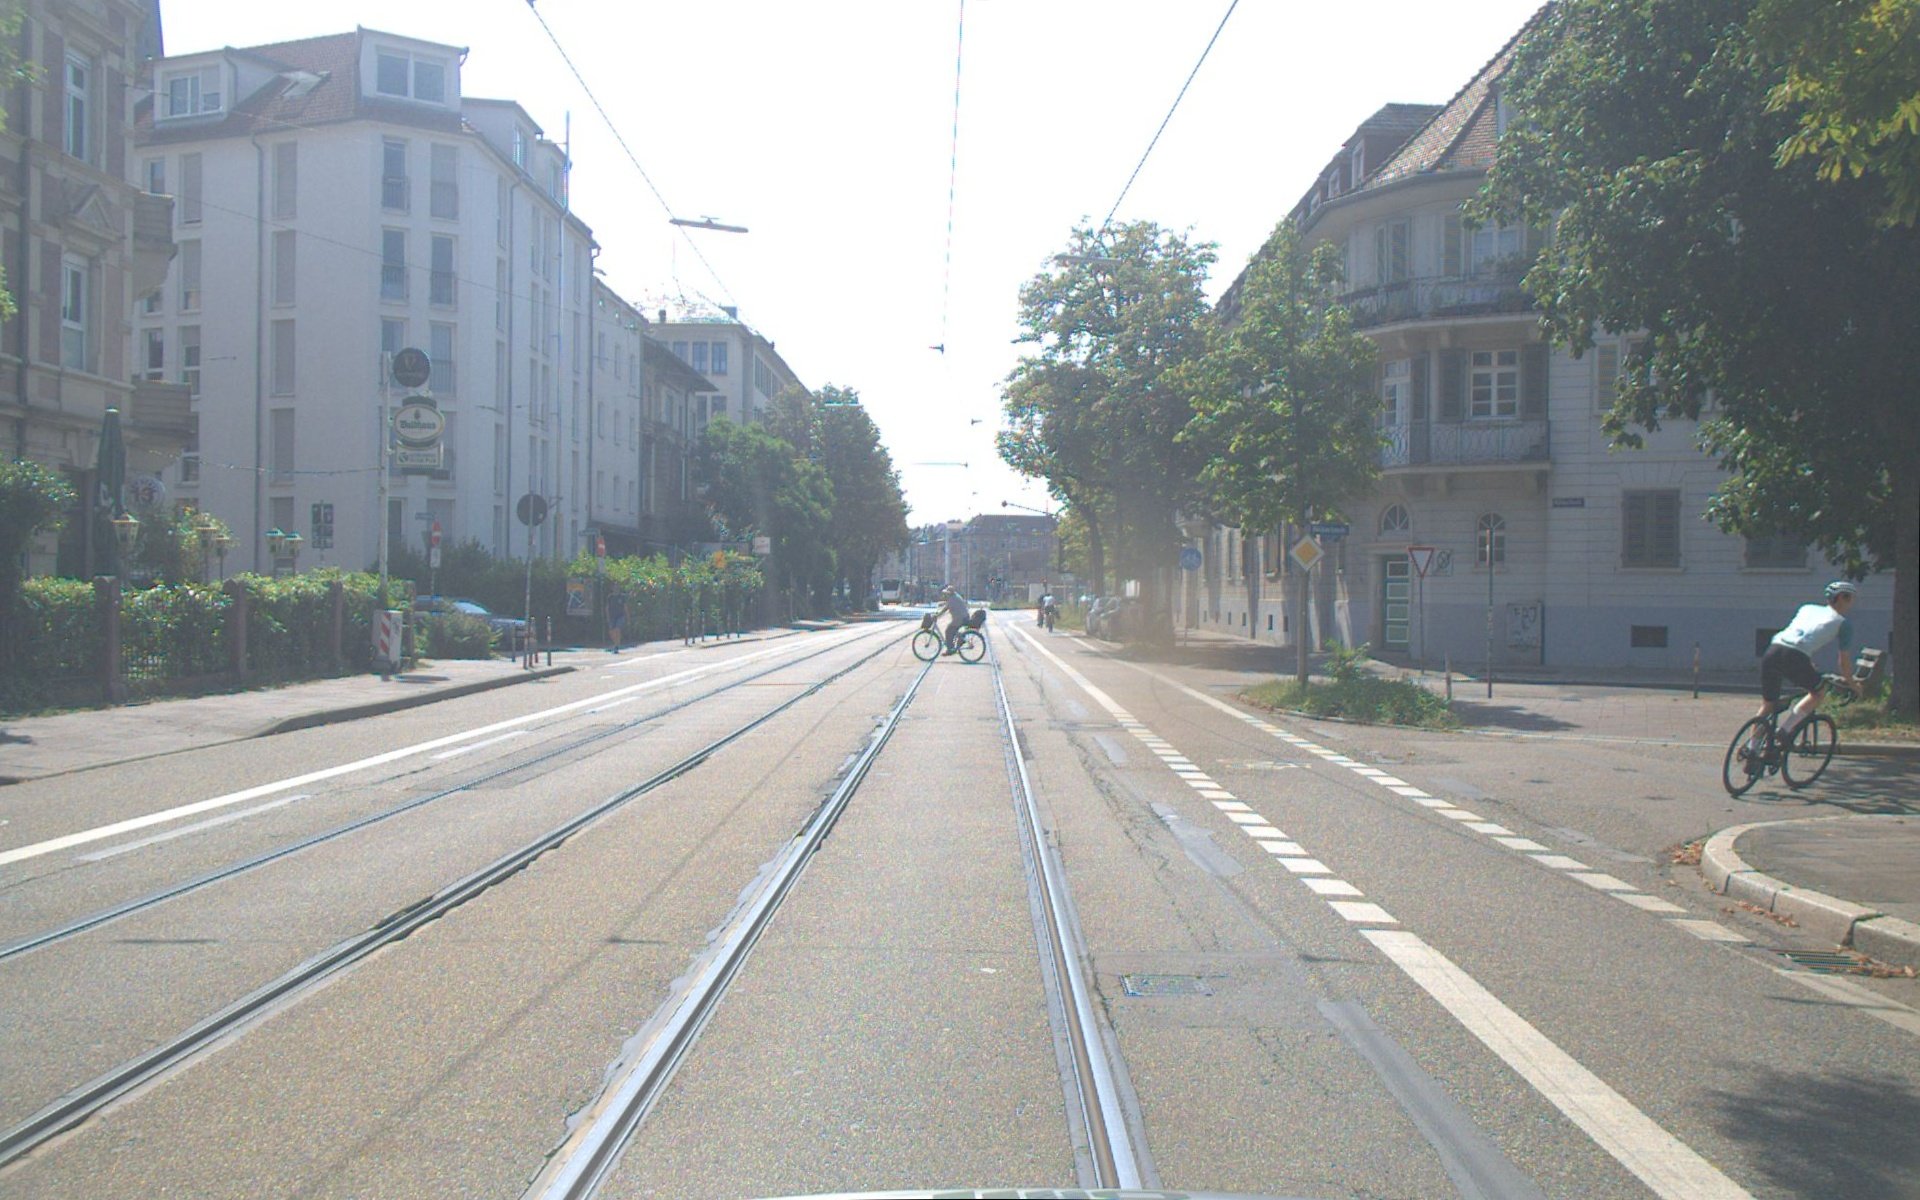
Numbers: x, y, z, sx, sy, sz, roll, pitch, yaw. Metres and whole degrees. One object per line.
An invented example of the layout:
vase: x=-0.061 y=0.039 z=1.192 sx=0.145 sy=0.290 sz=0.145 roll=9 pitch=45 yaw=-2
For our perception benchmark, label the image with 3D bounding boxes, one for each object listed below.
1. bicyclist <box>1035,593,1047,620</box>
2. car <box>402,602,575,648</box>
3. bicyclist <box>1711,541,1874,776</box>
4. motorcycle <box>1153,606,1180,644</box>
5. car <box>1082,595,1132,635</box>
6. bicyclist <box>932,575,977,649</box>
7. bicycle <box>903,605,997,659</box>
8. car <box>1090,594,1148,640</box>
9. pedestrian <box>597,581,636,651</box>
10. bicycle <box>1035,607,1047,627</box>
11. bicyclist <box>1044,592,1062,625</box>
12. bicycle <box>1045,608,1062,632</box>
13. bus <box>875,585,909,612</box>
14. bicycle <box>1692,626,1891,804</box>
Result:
bicyclist: x=4.005 y=0.319 z=81.399 sx=0.567 sy=1.301 sz=0.471 roll=0 pitch=0 yaw=3
car: x=-12.783 y=0.669 z=44.841 sx=4.142 sy=1.205 sz=2.000 roll=-1 pitch=0 yaw=21
bicyclist: x=6.990 y=0.461 z=13.876 sx=1.106 sy=1.869 sz=0.952 roll=0 pitch=0 yaw=35
motorcycle: x=6.123 y=0.724 z=49.162 sx=0.537 sy=1.086 sz=2.330 roll=0 pitch=0 yaw=1
car: x=5.617 y=0.565 z=63.382 sx=1.551 sy=1.490 sz=3.466 roll=0 pitch=-1 yaw=-1
bicyclist: x=-0.120 y=0.265 z=37.562 sx=0.806 sy=1.671 sz=0.786 roll=1 pitch=0 yaw=17
bicycle: x=-0.222 y=0.726 z=37.592 sx=1.992 sy=1.171 sz=0.786 roll=1 pitch=0 yaw=17
car: x=5.334 y=0.578 z=55.830 sx=1.551 sy=1.490 sz=3.414 roll=0 pitch=-1 yaw=-1
pedestrian: x=-8.969 y=0.413 z=43.219 sx=0.763 sy=1.787 sz=1.040 roll=0 pitch=0 yaw=1
bicycle: x=4.013 y=0.852 z=81.537 sx=0.575 sy=0.955 sz=2.172 roll=0 pitch=0 yaw=3
bicyclist: x=4.009 y=0.358 z=71.139 sx=0.743 sy=1.416 sz=0.779 roll=0 pitch=0 yaw=3
bicycle: x=4.021 y=0.857 z=71.290 sx=0.743 sy=1.008 sz=2.299 roll=0 pitch=0 yaw=3
bus: x=-8.747 y=-0.168 z=215.087 sx=3.658 sy=3.423 sz=15.119 roll=0 pitch=0 yaw=0
bicycle: x=7.123 y=0.899 z=14.076 sx=1.128 sy=1.291 sz=2.702 roll=1 pitch=1 yaw=35
